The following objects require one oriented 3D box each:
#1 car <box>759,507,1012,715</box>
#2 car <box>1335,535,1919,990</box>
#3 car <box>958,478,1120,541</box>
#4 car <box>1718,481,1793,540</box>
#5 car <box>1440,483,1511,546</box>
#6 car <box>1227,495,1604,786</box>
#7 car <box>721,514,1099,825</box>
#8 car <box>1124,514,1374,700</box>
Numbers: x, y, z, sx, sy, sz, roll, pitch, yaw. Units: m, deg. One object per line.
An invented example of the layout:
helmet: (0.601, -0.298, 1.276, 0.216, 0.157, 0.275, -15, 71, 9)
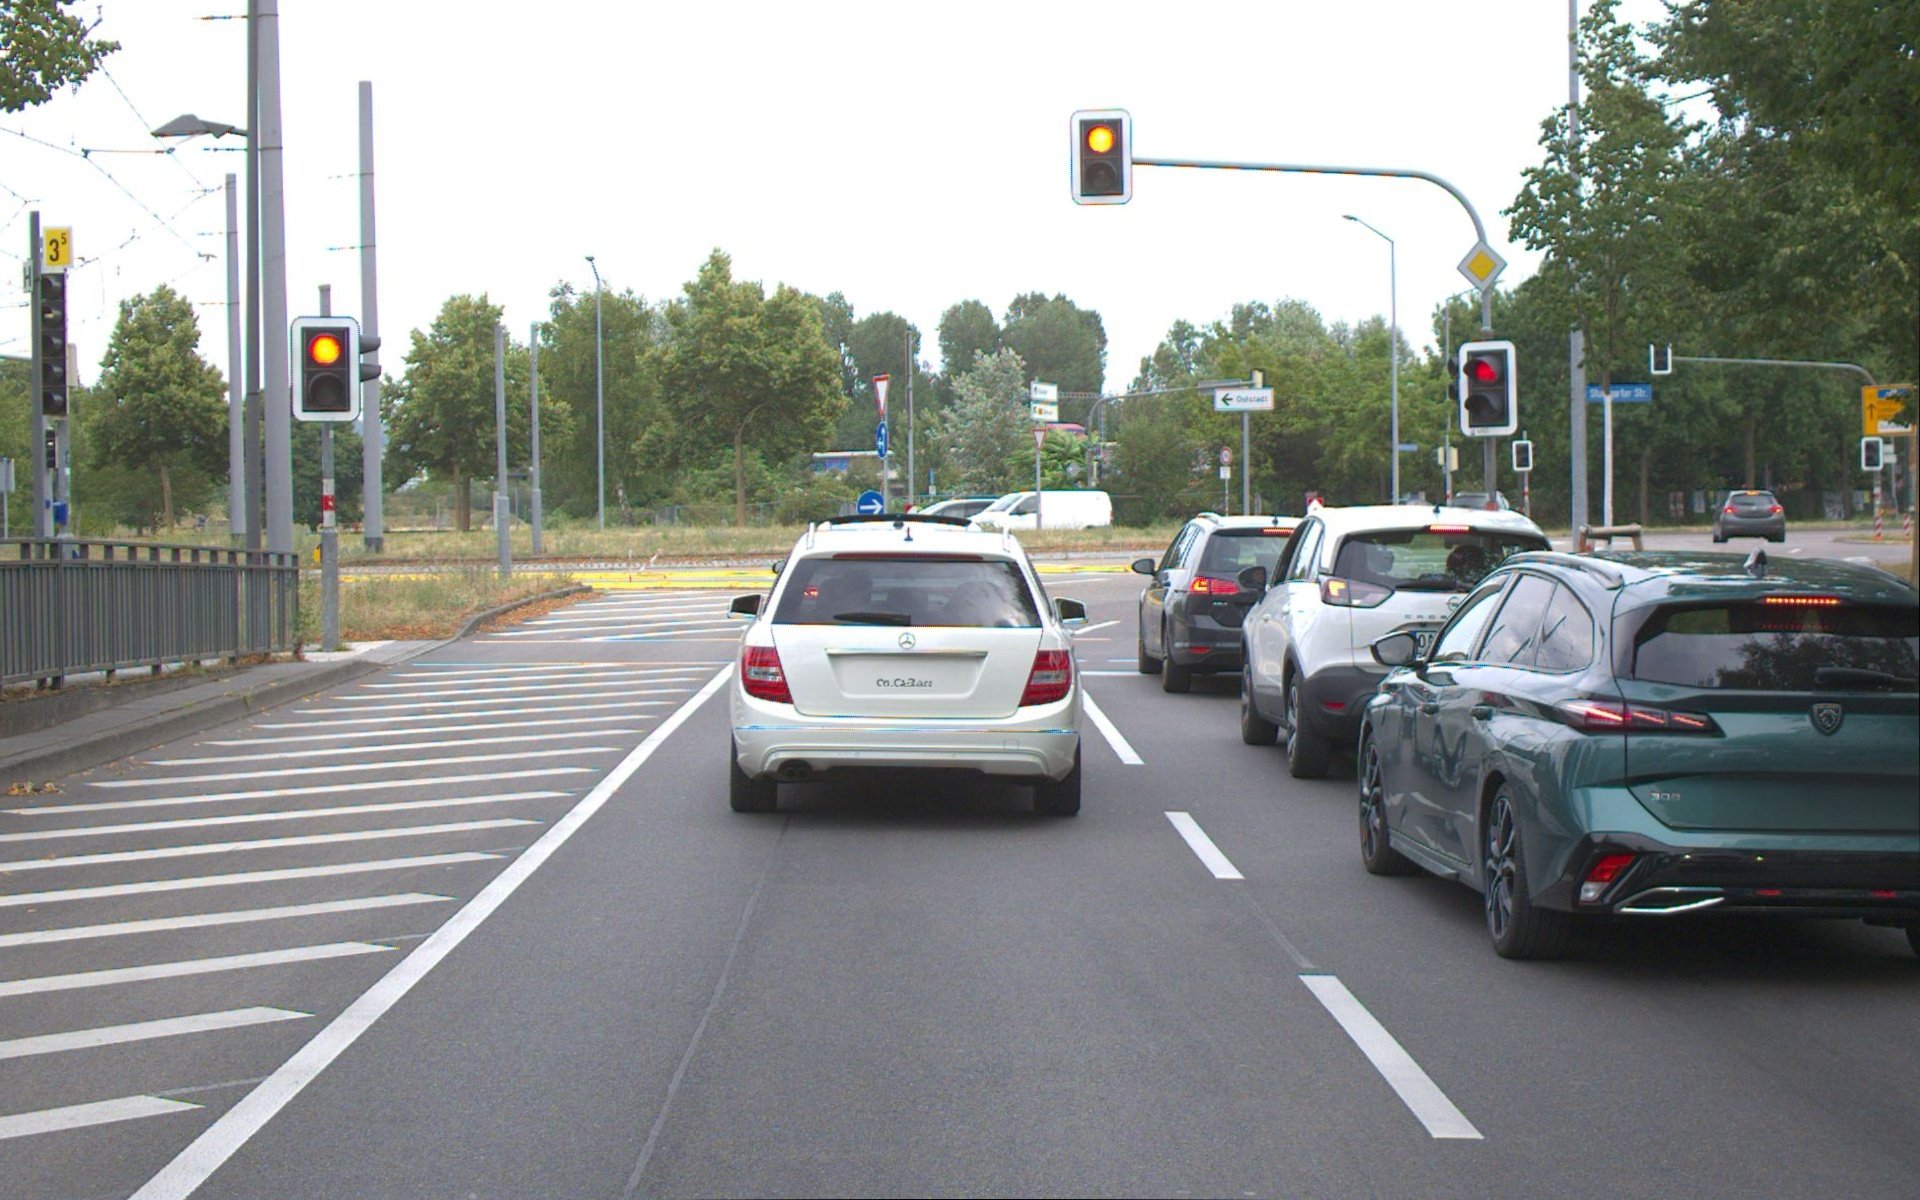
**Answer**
car: (-0.604, 0.027, 26.301, 1.773, 1.443, 3.911, 1, 2, -2)
car: (2.667, 0.483, 13.257, 1.787, 1.427, 4.311, 0, 2, -3)
car: (2.617, -2.992, 113.190, 4.983, 2.006, 2.000, -1, 2, -28)
car: (22.454, -2.541, 97.194, 1.784, 1.630, 4.400, 0, 2, 9)
car: (15.349, -2.537, 102.439, 1.994, 1.784, 3.999, 2, 1, 8)
car: (2.708, 0.173, 21.245, 1.787, 1.619, 3.911, -1, 2, 0)
car: (-0.312, 0.281, 18.229, 1.773, 1.443, 3.911, 1, 2, -2)
car: (2.386, 0.006, 29.192, 1.624, 1.443, 3.911, 1, 2, -2)
